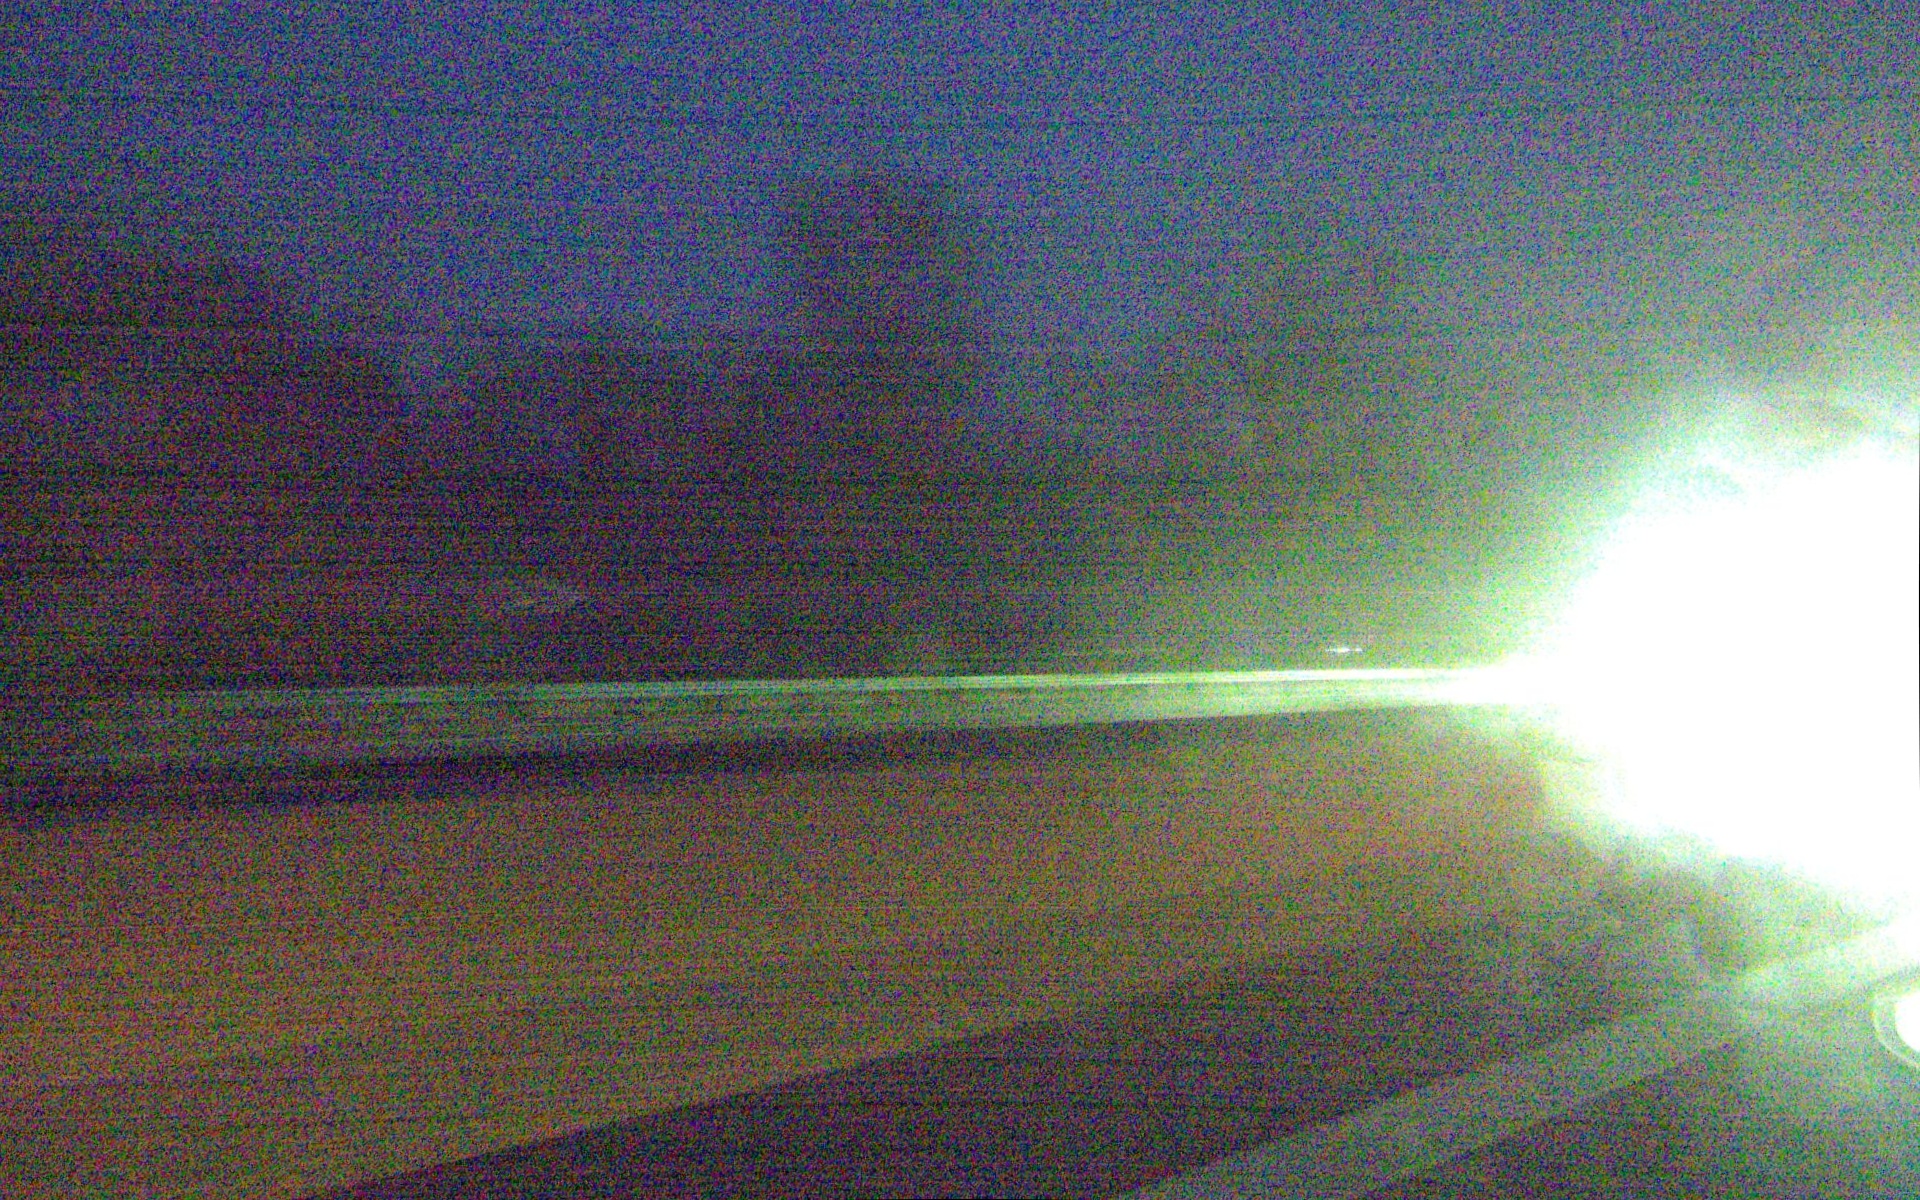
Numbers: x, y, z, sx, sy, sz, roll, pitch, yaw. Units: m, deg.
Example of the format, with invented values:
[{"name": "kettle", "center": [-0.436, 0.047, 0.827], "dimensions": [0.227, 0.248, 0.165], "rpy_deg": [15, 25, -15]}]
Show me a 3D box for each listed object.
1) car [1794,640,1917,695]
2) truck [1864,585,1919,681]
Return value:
[{"name": "car", "center": [28.060, 2.073, 31.463], "dimensions": [3.927, 1.595, 1.788], "rpy_deg": [2, -2, -30]}, {"name": "truck", "center": [44.135, 1.500, 45.363], "dimensions": [6.912, 4.148, 2.907], "rpy_deg": [1, -2, -30]}]
